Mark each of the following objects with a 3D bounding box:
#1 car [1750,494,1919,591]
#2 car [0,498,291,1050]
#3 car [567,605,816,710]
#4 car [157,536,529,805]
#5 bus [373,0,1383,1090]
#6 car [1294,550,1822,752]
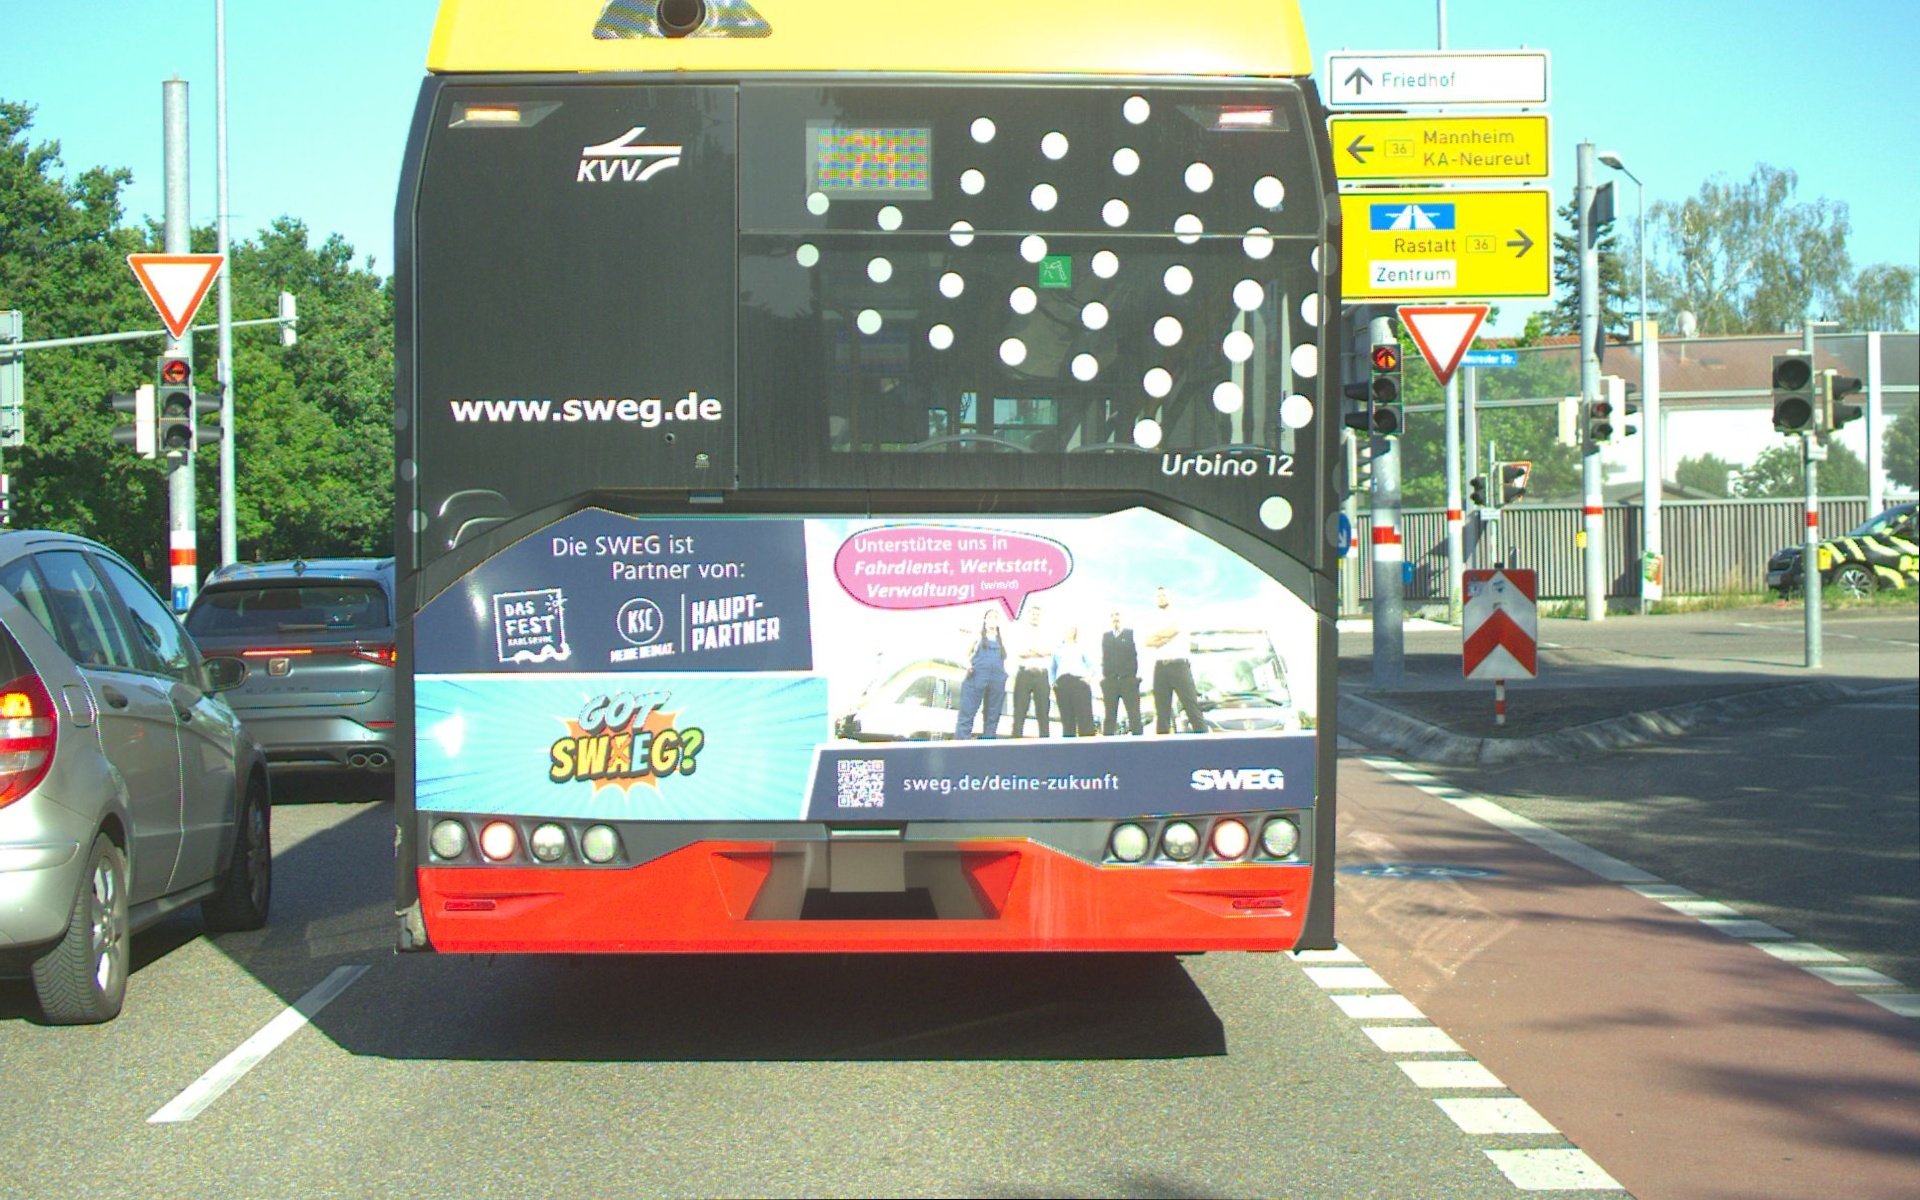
[{"bbox_3d":[13.263,-0.779,47.793,4.159,1.298,1.575,0,0,-3],"label":"car"},{"bbox_3d":[-3.597,0.469,12.213,1.753,1.614,4.034,-1,2,-2],"label":"car"},{"bbox_3d":[-4.397,0.918,56.138,3.986,1.606,1.696,-1,1,-6],"label":"car"},{"bbox_3d":[-3.672,0.384,21.017,1.588,1.480,3.682,-1,0,0],"label":"car"},{"bbox_3d":[-0.283,-0.500,14.899,2.596,3.323,11.984,0,1,-1],"label":"bus"},{"bbox_3d":[4.162,0.330,24.184,3.523,1.297,1.574,1,2,8],"label":"car"}]
